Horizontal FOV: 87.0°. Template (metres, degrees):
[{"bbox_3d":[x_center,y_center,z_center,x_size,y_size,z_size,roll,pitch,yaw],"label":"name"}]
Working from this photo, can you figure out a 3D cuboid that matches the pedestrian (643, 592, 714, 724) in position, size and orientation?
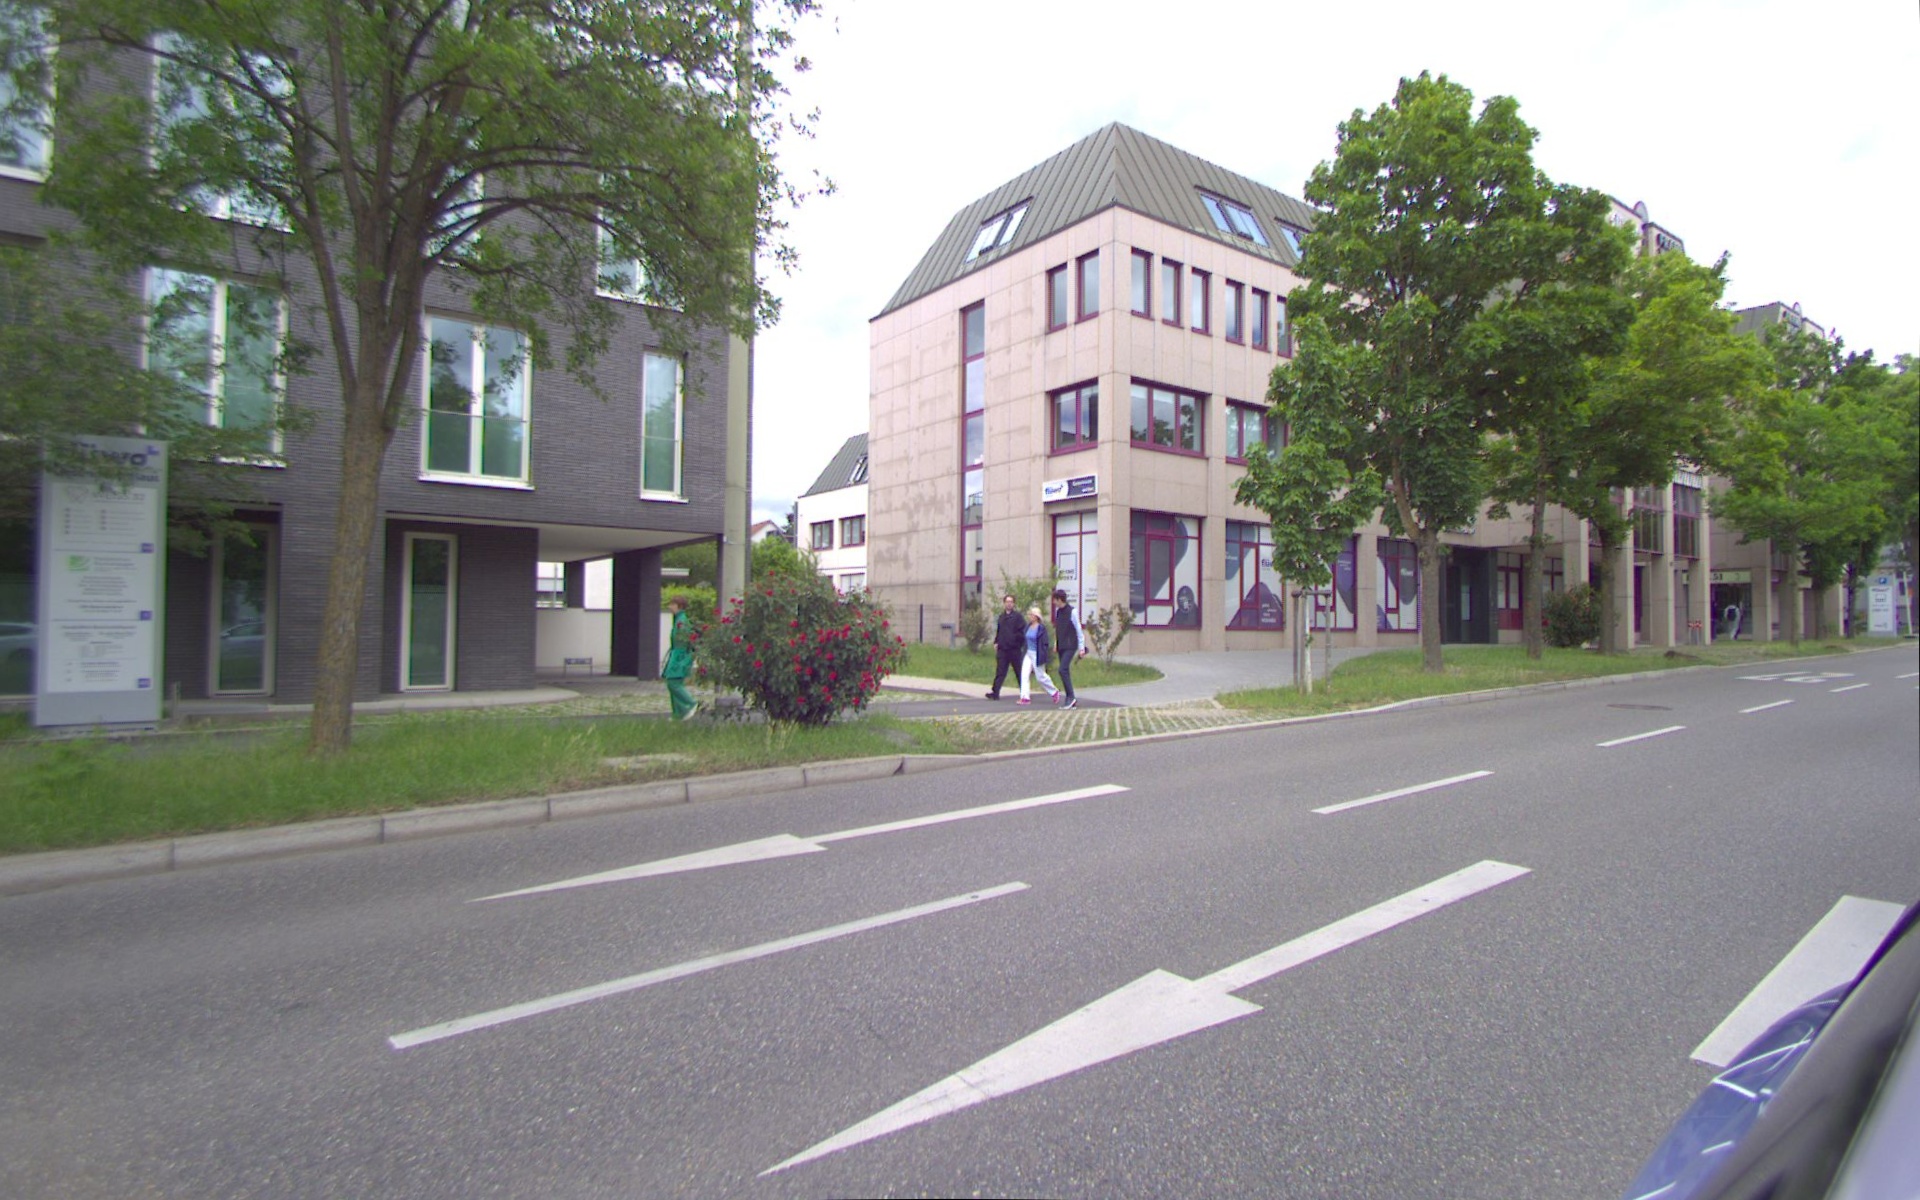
[{"bbox_3d":[-3.446,0.689,12.389,0.665,1.537,0.496,1,2,-41],"label":"pedestrian"}]

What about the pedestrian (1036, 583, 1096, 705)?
[{"bbox_3d":[1.627,0.659,15.584,0.665,1.828,0.642,1,-1,-40],"label":"pedestrian"}]

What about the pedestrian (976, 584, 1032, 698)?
[{"bbox_3d":[0.730,0.654,16.692,0.665,1.828,0.642,1,-1,-40],"label":"pedestrian"}]

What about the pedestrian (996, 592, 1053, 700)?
[{"bbox_3d":[1.026,0.710,16.120,0.665,1.668,0.642,1,-1,-40],"label":"pedestrian"}]
